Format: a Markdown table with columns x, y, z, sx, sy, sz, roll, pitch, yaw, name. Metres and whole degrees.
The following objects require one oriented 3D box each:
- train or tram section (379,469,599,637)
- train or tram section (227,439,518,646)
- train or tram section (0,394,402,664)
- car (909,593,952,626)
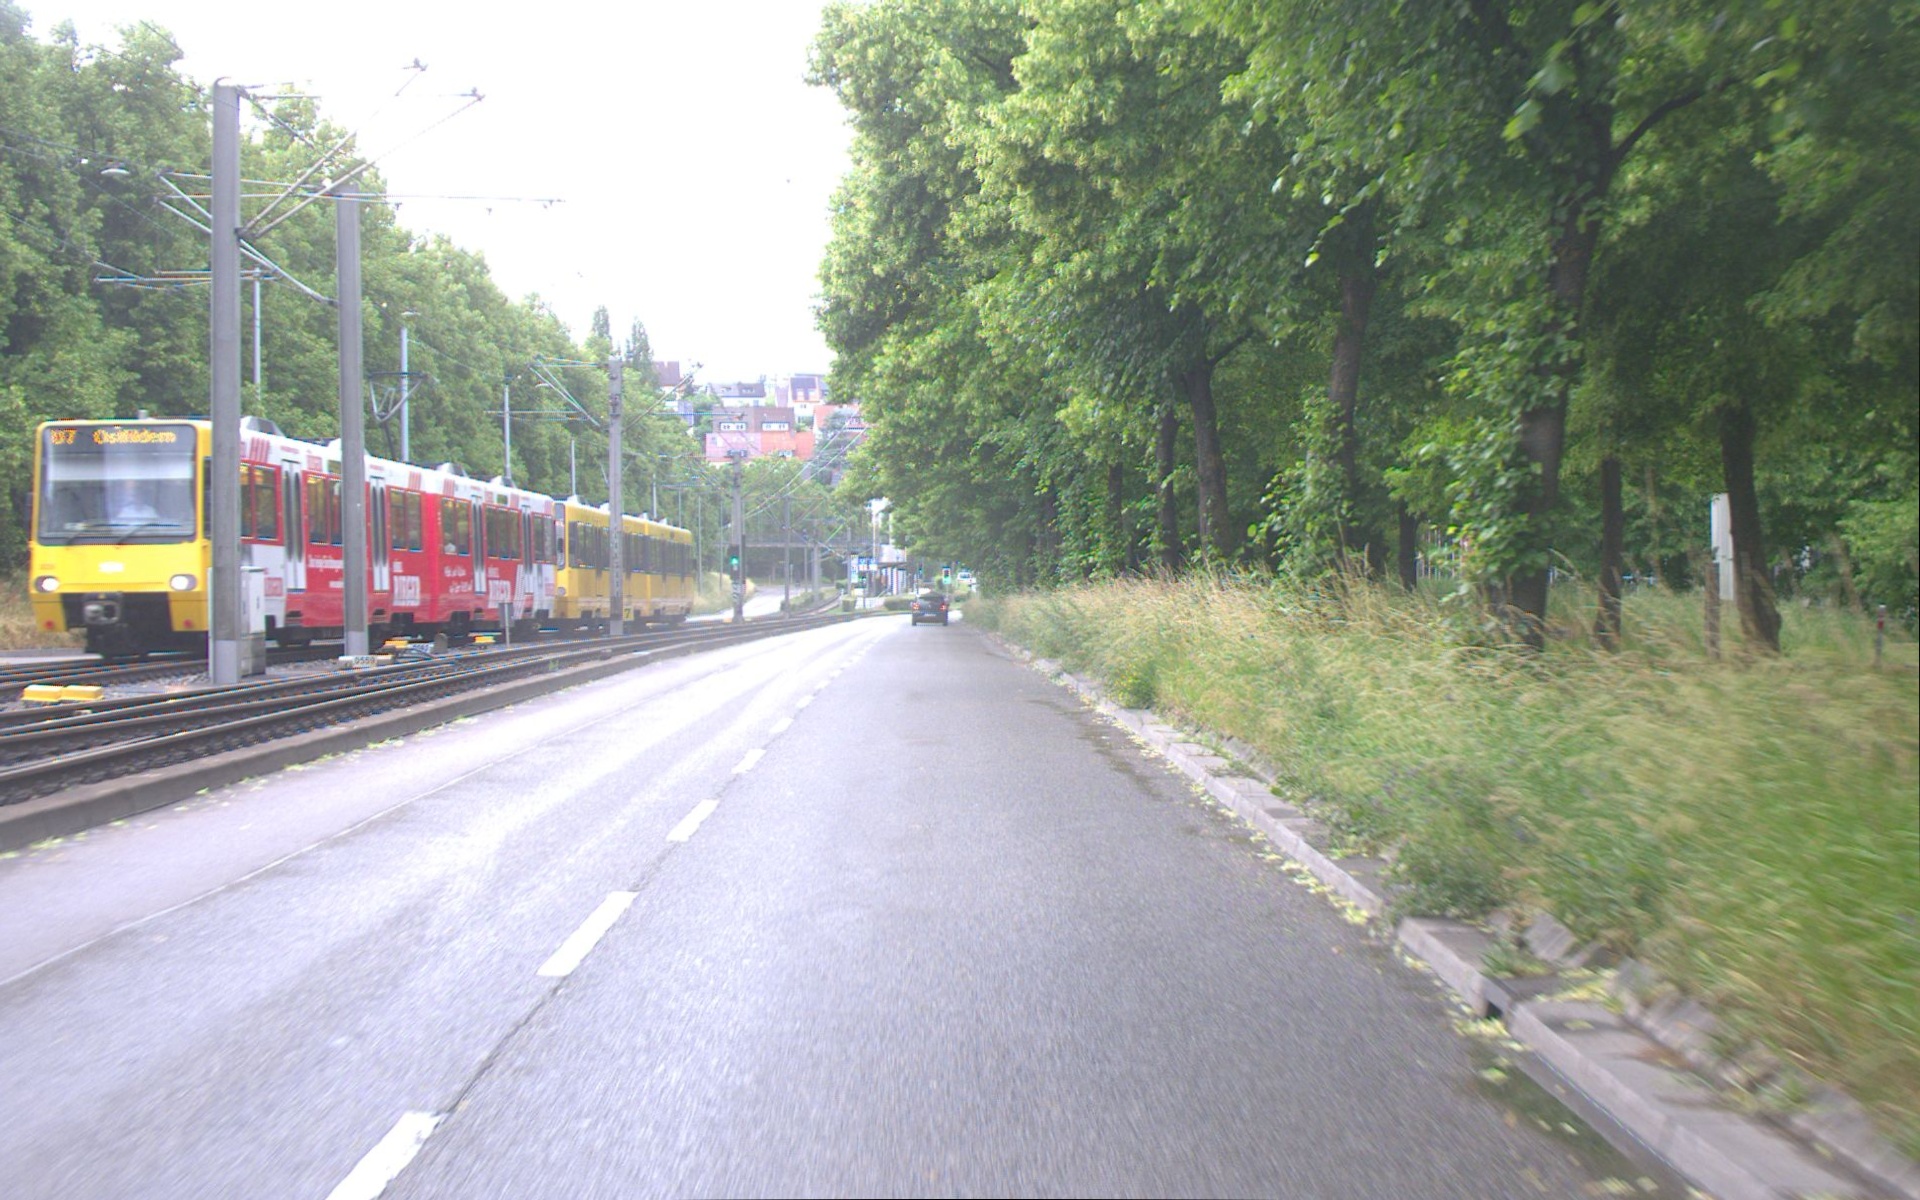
| x | y | z | sx | sy | sz | roll | pitch | yaw | name |
| --- | --- | --- | --- | --- | --- | --- | --- | --- | --- |
| -11.438 | -1.060 | 85.255 | 3.214 | 3.783 | 14.789 | 0 | 0 | 1 | train or tram section |
| -11.720 | -1.049 | 70.426 | 3.214 | 3.783 | 14.789 | 0 | 0 | 1 | train or tram section |
| -11.942 | -0.987 | 55.628 | 3.214 | 3.783 | 14.789 | 0 | 0 | 1 | train or tram section |
| -1.361 | 0.441 | 159.947 | 1.982 | 1.436 | 4.474 | 0 | 1 | 0 | car |
